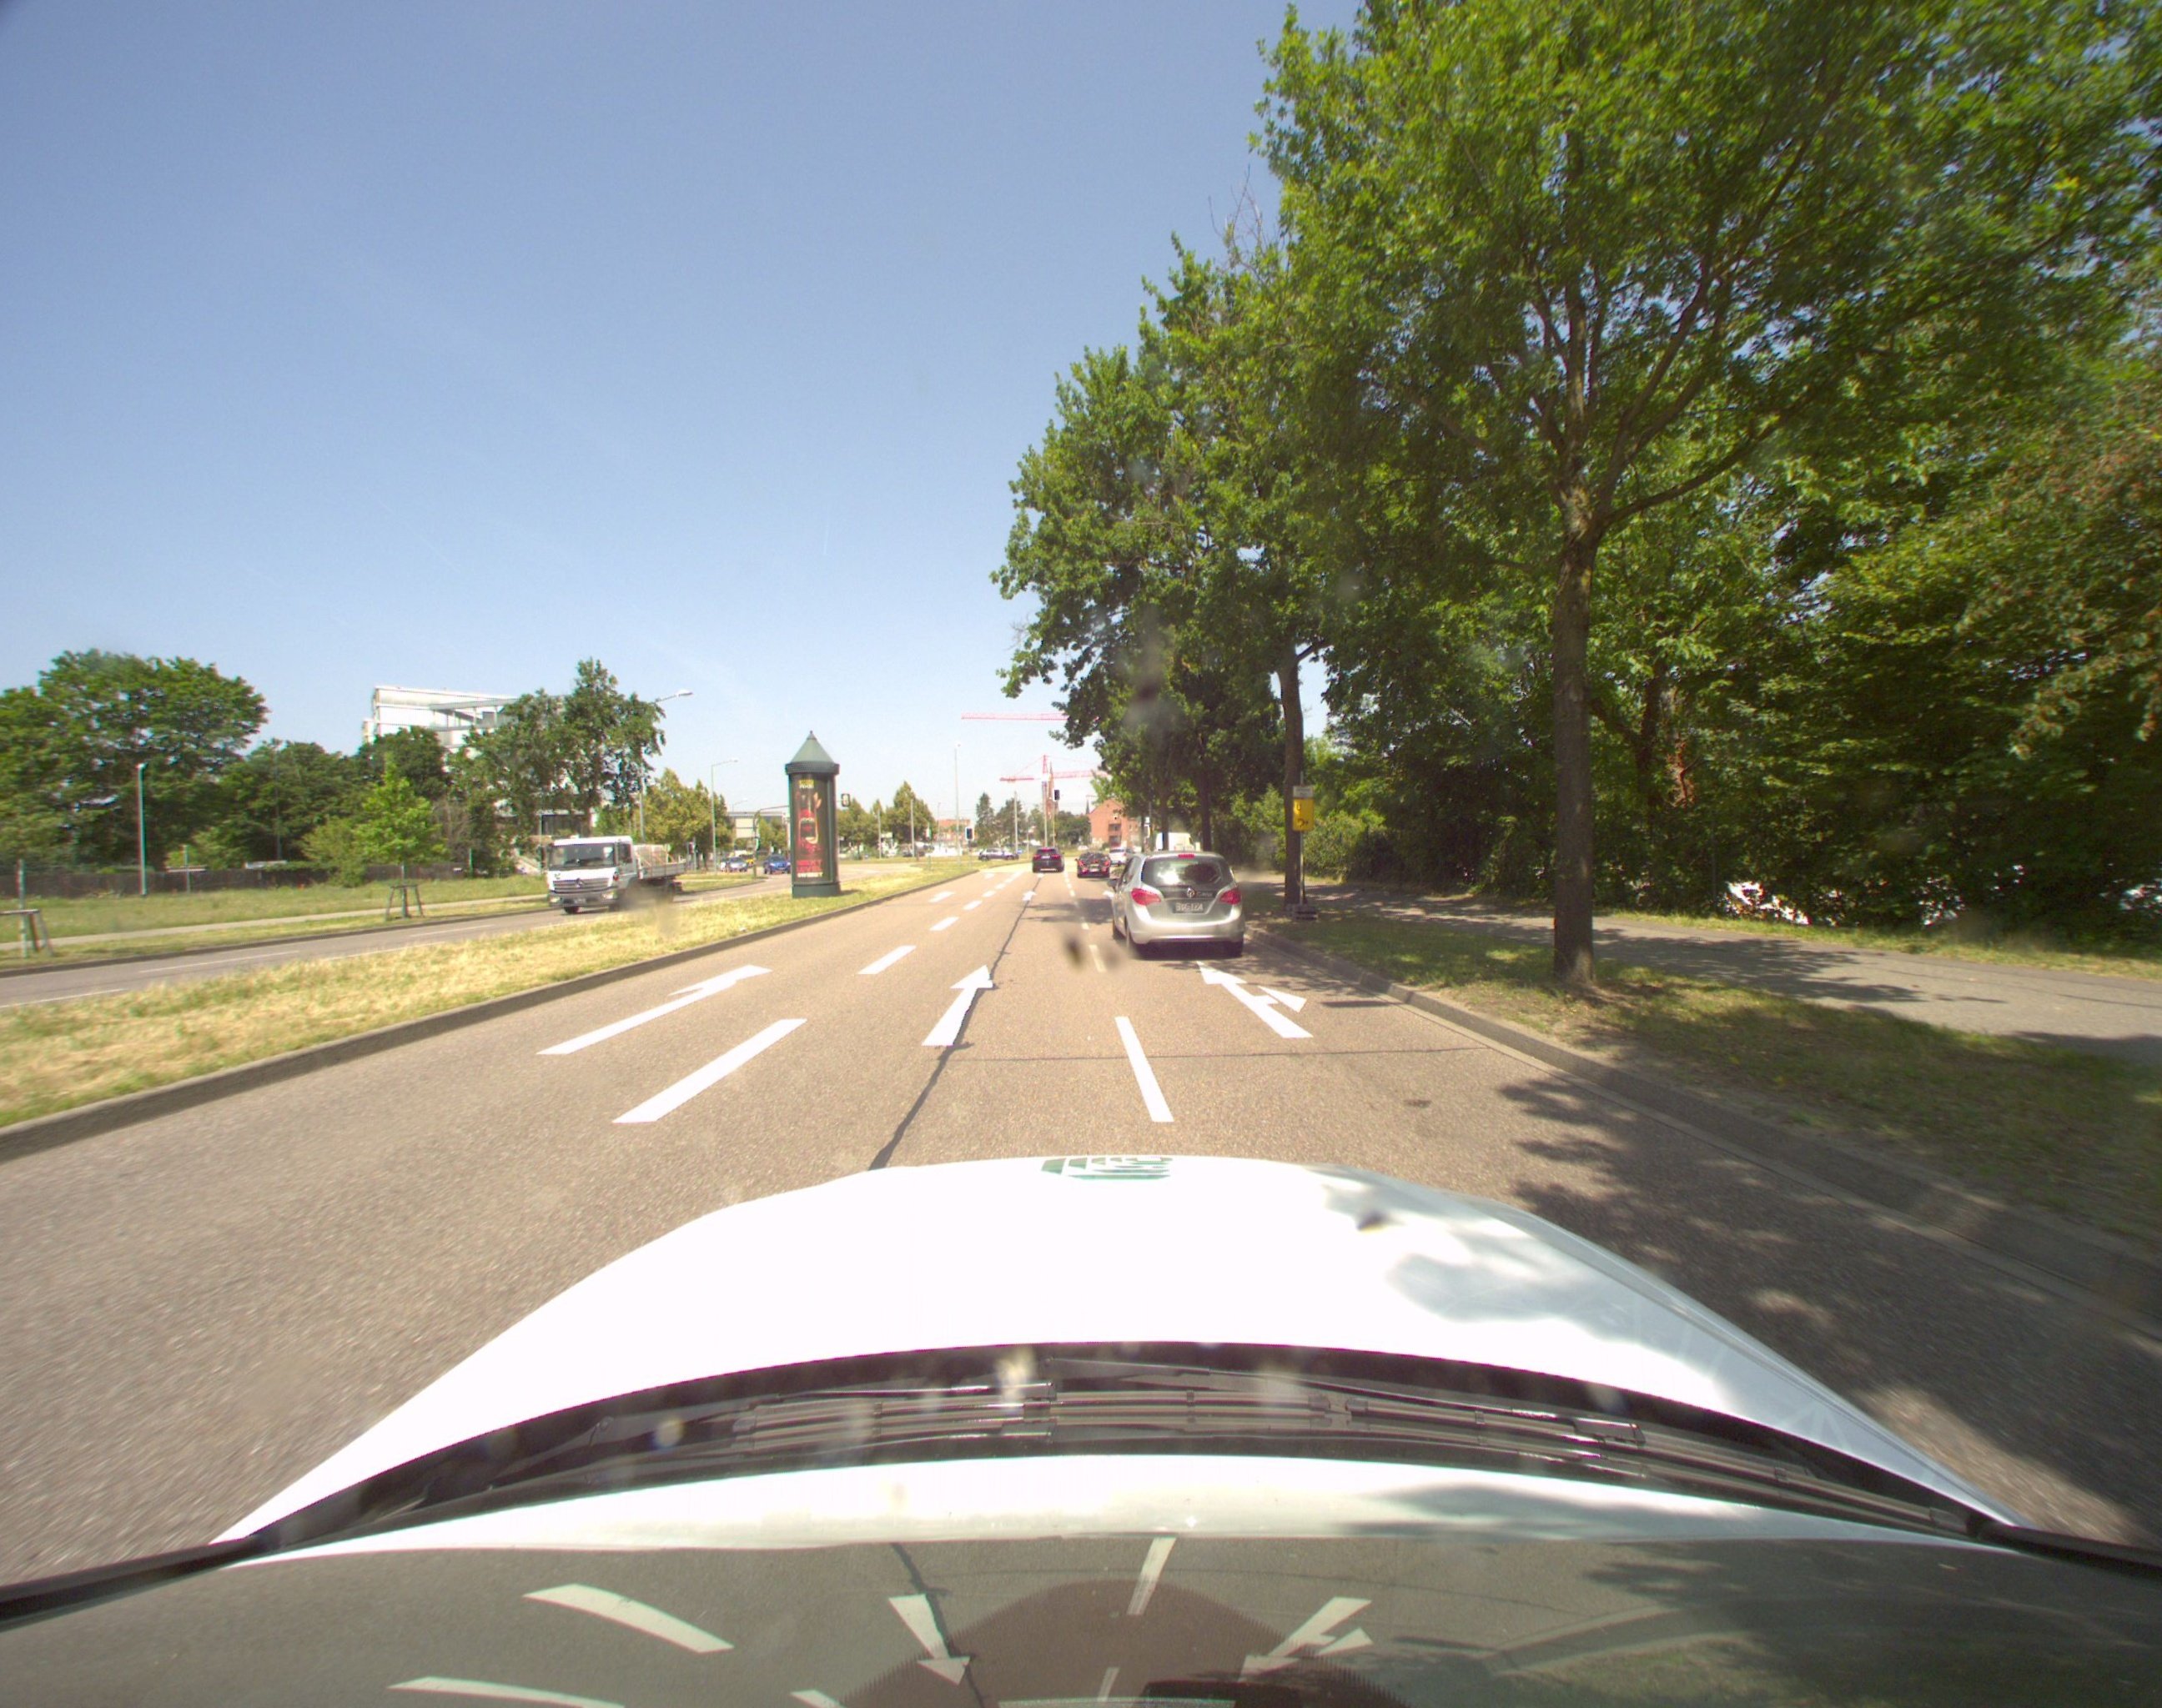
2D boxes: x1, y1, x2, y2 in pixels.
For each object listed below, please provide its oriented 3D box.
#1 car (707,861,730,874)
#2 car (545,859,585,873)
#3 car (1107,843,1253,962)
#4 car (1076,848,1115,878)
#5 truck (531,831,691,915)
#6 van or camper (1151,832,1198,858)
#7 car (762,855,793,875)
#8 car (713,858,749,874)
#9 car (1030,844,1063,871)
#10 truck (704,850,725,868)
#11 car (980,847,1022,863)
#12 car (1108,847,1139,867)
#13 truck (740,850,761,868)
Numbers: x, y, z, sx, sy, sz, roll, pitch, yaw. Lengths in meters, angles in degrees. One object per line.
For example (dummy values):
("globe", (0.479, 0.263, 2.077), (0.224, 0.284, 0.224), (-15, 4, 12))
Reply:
("car", (-41.311, 1.564, 92.807), (1.753, 1.424, 3.800), (-2, 0, -34))
("car", (-73.126, 1.684, 115.498), (1.975, 1.878, 4.316), (-2, 0, 28))
("car", (1.453, 0.664, 13.350), (1.788, 1.612, 3.888), (-1, 0, -2))
("car", (0.777, 0.486, 45.636), (2.007, 1.517, 4.460), (-2, 0, 0))
("truck", (-16.822, 0.603, 29.715), (2.636, 2.576, 6.303), (-3, 0, -7))
("van or camper", (8.866, -0.879, 77.089), (2.469, 2.291, 4.952), (-2, 0, 31))
("car", (-26.597, 0.960, 71.345), (2.005, 1.596, 3.963), (-2, 0, -28))
("car", (-36.104, 1.233, 83.945), (3.950, 1.596, 2.012), (-2, 0, 44))
("car", (-2.257, 0.227, 54.246), (1.992, 1.689, 4.033), (-1, 1, 0))
("truck", (-57.783, 0.813, 128.371), (2.008, 2.739, 4.979), (-2, 1, -35))
("car", (-7.957, 0.127, 81.515), (3.975, 1.453, 1.999), (-2, 0, -1))
("car", (3.373, 0.211, 64.108), (1.933, 1.442, 4.010), (-2, 0, 9))
("truck", (-52.718, 0.815, 129.992), (2.368, 2.595, 6.353), (-2, 0, -28))
